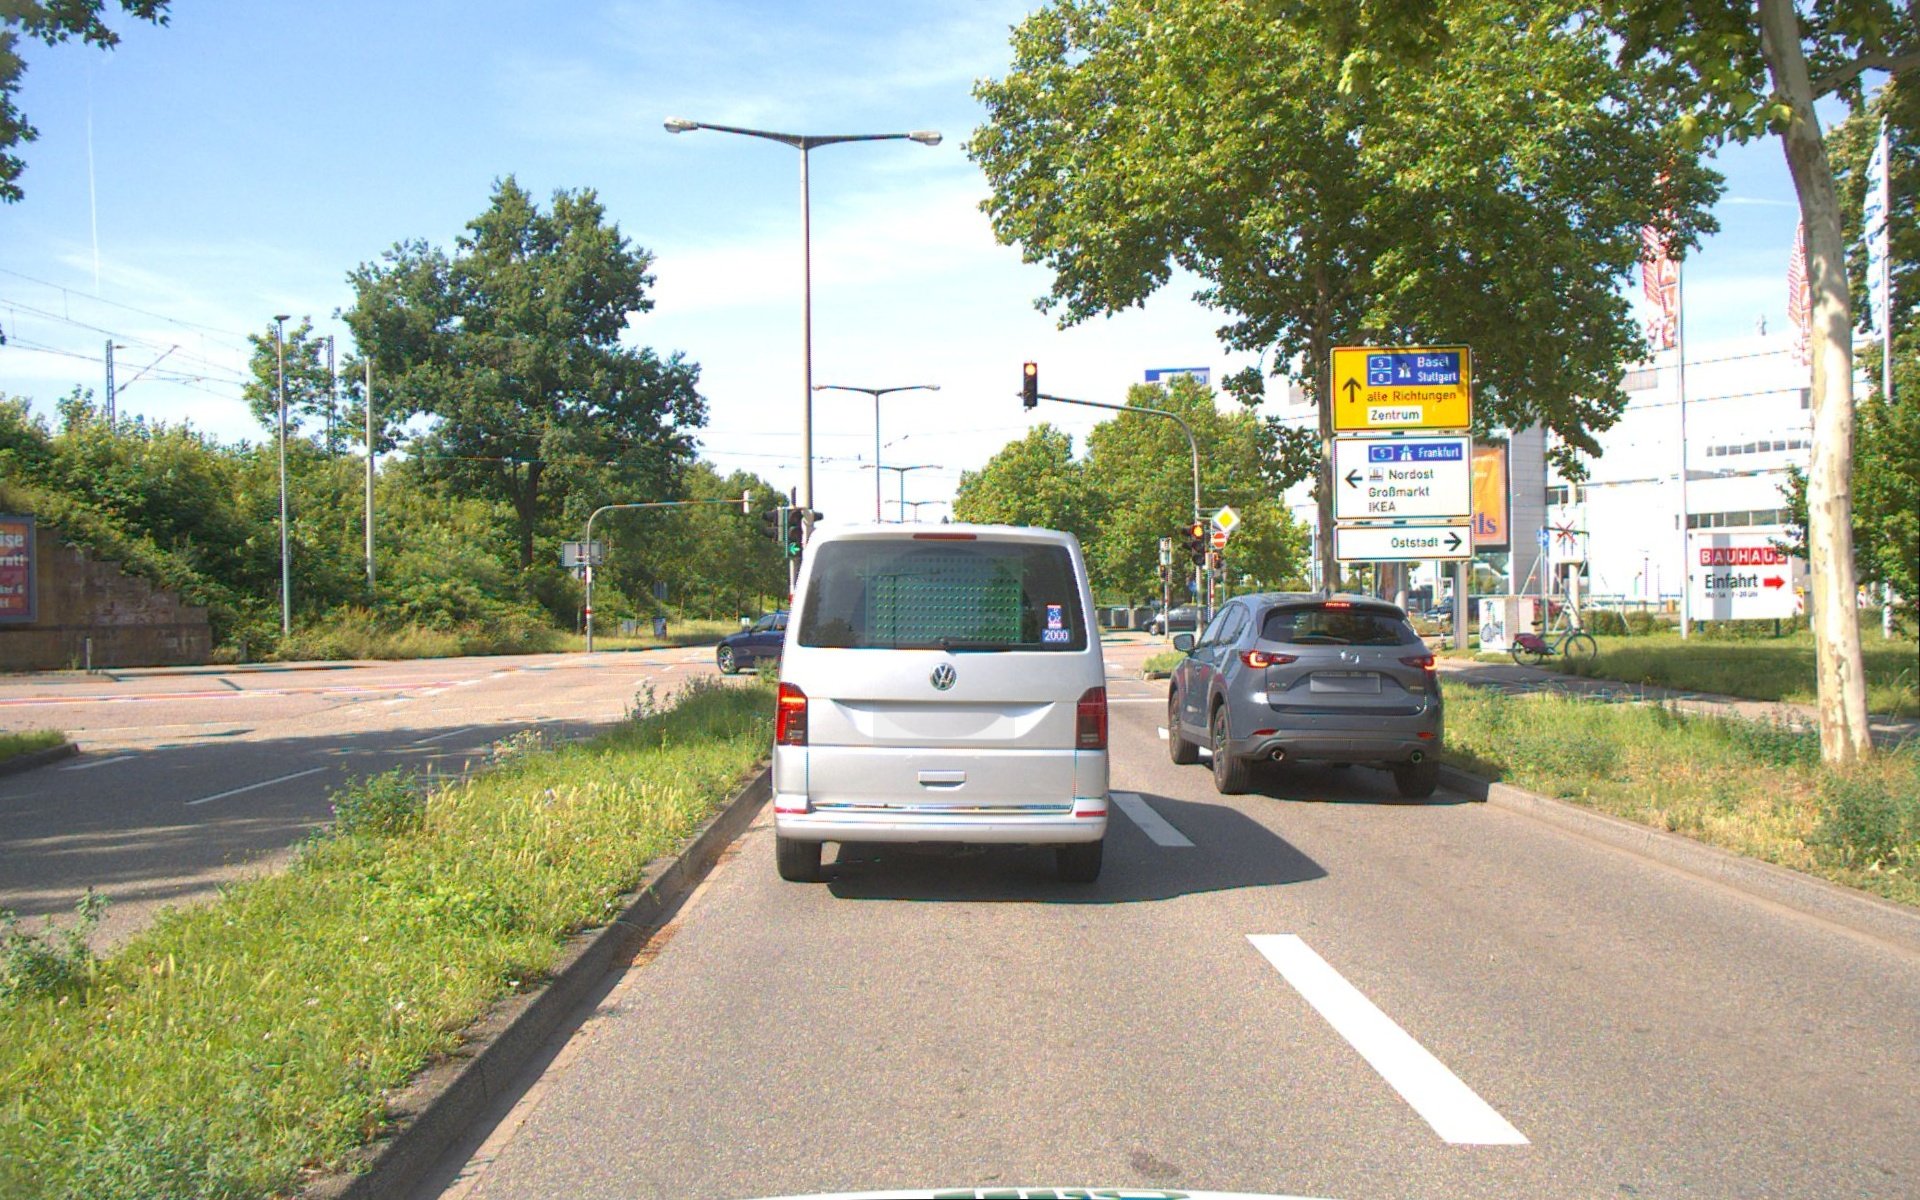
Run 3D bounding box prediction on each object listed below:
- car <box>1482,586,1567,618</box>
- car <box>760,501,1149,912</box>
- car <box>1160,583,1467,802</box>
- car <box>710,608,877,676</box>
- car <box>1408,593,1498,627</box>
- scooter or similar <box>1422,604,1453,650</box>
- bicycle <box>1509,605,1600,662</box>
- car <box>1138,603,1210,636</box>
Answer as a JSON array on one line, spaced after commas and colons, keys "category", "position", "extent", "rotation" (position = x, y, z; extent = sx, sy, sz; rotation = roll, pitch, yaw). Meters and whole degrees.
[{"category": "car", "position": [27.986, 0.099, 81.929], "extent": [4.578, 1.469, 1.758], "rotation": [-1, 0, -38]}, {"category": "car", "position": [-0.059, 0.533, 10.656], "extent": [1.902, 2.006, 5.021], "rotation": [0, 0, -1]}, {"category": "car", "position": [3.033, 0.734, 15.148], "extent": [1.730, 1.688, 4.494], "rotation": [1, 0, -2]}, {"category": "car", "position": [-3.860, 0.935, 37.775], "extent": [1.775, 1.421, 4.264], "rotation": [-1, 0, -39]}, {"category": "car", "position": [23.465, 0.471, 78.651], "extent": [4.578, 1.469, 1.758], "rotation": [-1, 0, -38]}, {"category": "scooter or similar", "position": [12.145, 0.669, 42.101], "extent": [0.416, 1.146, 1.123], "rotation": [-1, 0, -2]}, {"category": "bicycle", "position": [12.549, 0.707, 34.976], "extent": [1.748, 1.127, 0.504], "rotation": [-3, -1, 18]}, {"category": "car", "position": [10.851, 0.975, 83.706], "extent": [3.518, 1.593, 2.002], "rotation": [1, -1, 10]}]
